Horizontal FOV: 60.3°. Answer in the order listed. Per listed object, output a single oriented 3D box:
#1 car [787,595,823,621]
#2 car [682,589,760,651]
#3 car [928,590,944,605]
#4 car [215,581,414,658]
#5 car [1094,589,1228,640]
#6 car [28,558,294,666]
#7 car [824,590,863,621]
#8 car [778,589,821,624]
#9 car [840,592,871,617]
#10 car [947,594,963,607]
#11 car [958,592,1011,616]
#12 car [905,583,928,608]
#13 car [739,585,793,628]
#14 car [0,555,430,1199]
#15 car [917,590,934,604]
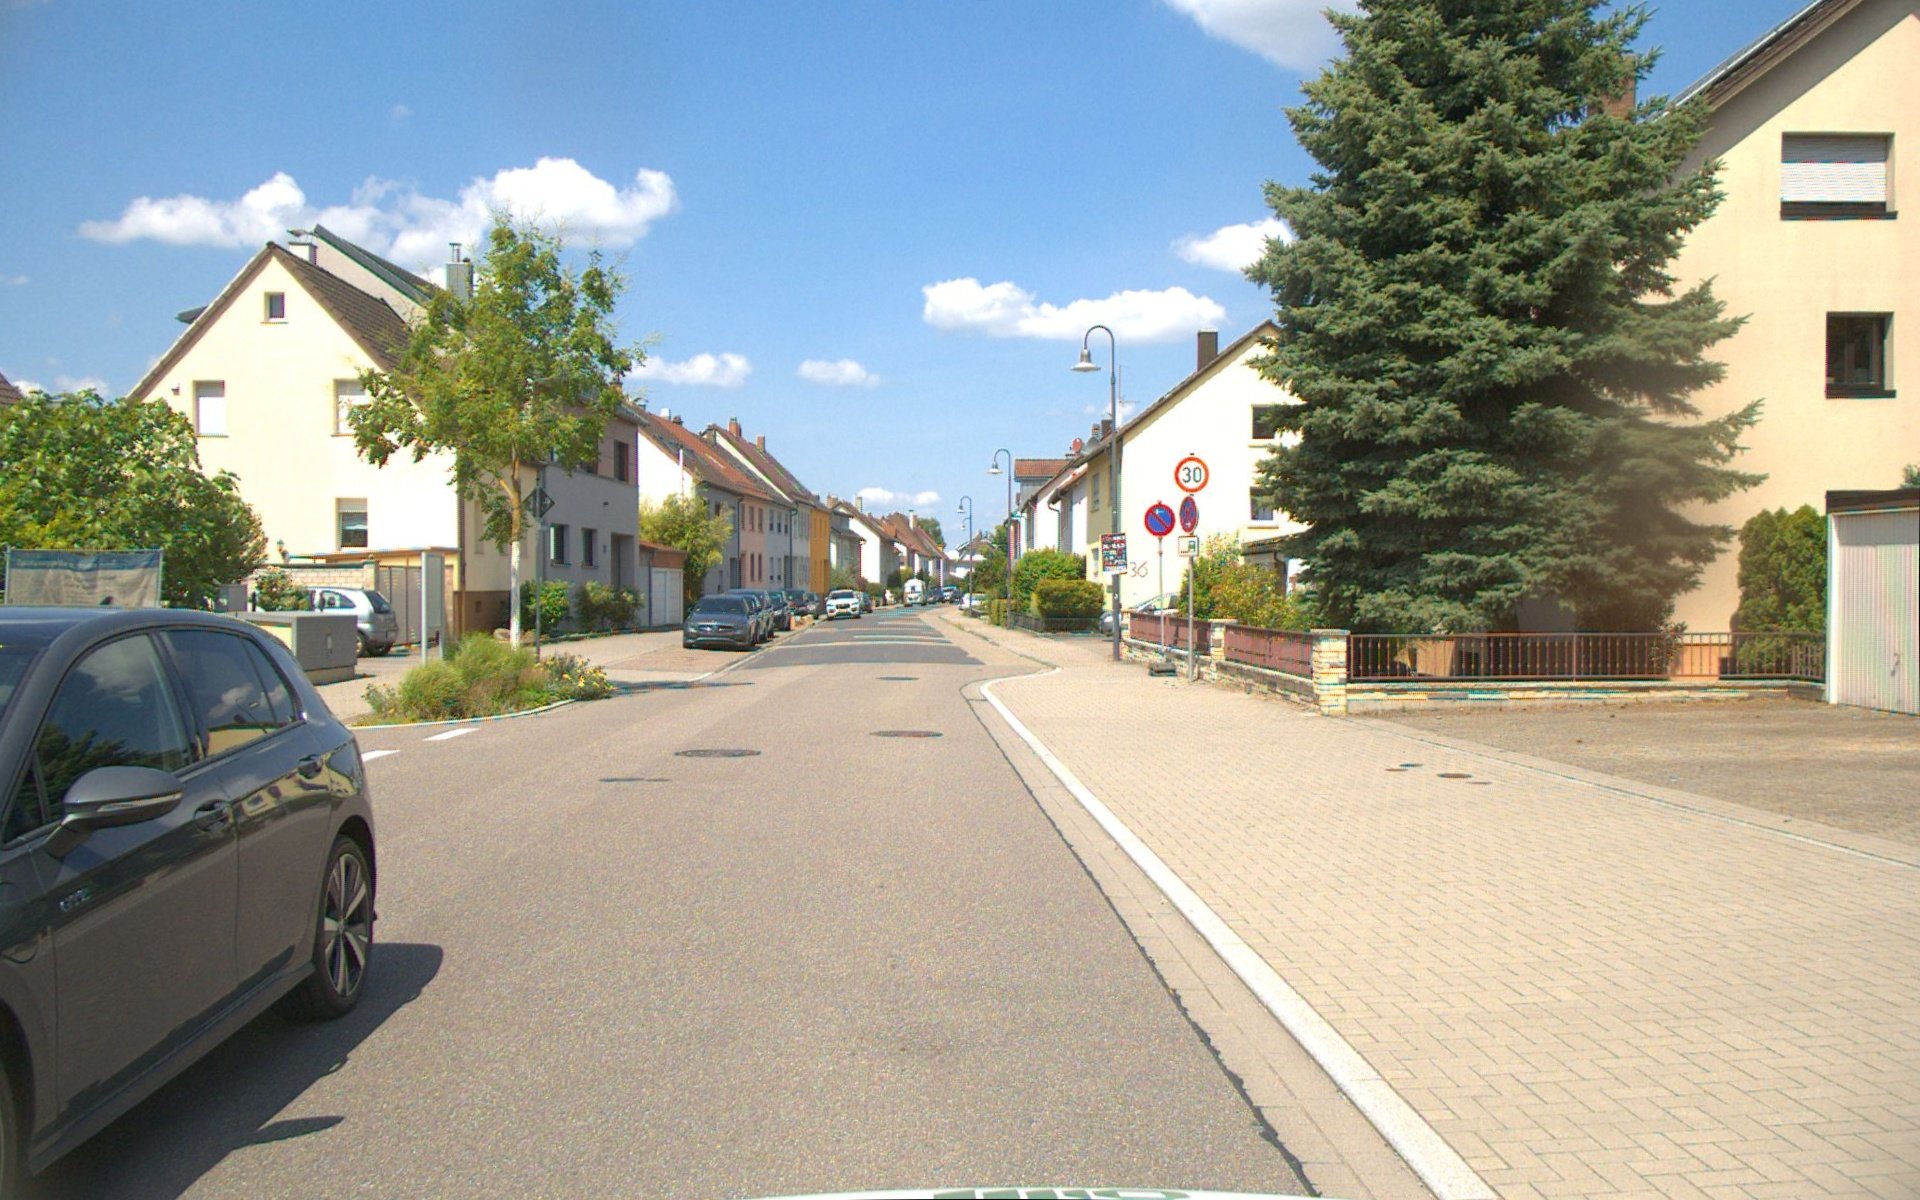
[{"bbox_3d":[-8.789,0.434,93.979,1.638,1.359,3.722,2,0,1],"label":"car"},{"bbox_3d":[-6.609,0.527,46.107,1.781,1.458,4.136,4,1,-5],"label":"car"},{"bbox_3d":[-2.821,-0.294,194.591,1.656,1.689,3.772,1,-1,2],"label":"car"},{"bbox_3d":[-13.594,0.401,34.980,3.451,1.496,1.792,1,0,2],"label":"car"},{"bbox_3d":[6.183,0.429,51.162,3.906,1.499,1.746,-1,0,-2],"label":"car"},{"bbox_3d":[-14.740,0.207,30.672,3.906,1.831,2.000,1,0,-1],"label":"car"},{"bbox_3d":[-6.660,0.300,95.038,1.812,1.688,4.000,2,0,1],"label":"car"},{"bbox_3d":[-7.908,0.302,81.836,1.774,1.637,3.999,2,0,-1],"label":"car"},{"bbox_3d":[-7.303,0.312,116.038,1.812,1.688,4.000,2,0,1],"label":"car"},{"bbox_3d":[-0.596,0.105,185.559,1.656,1.365,3.772,1,0,2],"label":"car"},{"bbox_3d":[1.642,0.289,111.186,3.452,1.490,1.628,1,-1,-2],"label":"car"},{"bbox_3d":[-4.317,-0.427,164.749,2.002,2.352,3.772,1,-1,2],"label":"car"},{"bbox_3d":[-7.823,0.235,67.052,1.743,1.637,3.999,2,0,-1],"label":"car"},{"bbox_3d":[-2.873,0.706,4.447,1.727,1.549,4.046,-2,0,-3],"label":"car"},{"bbox_3d":[-3.877,-0.373,187.078,1.656,1.530,3.772,1,-1,2],"label":"car"}]
